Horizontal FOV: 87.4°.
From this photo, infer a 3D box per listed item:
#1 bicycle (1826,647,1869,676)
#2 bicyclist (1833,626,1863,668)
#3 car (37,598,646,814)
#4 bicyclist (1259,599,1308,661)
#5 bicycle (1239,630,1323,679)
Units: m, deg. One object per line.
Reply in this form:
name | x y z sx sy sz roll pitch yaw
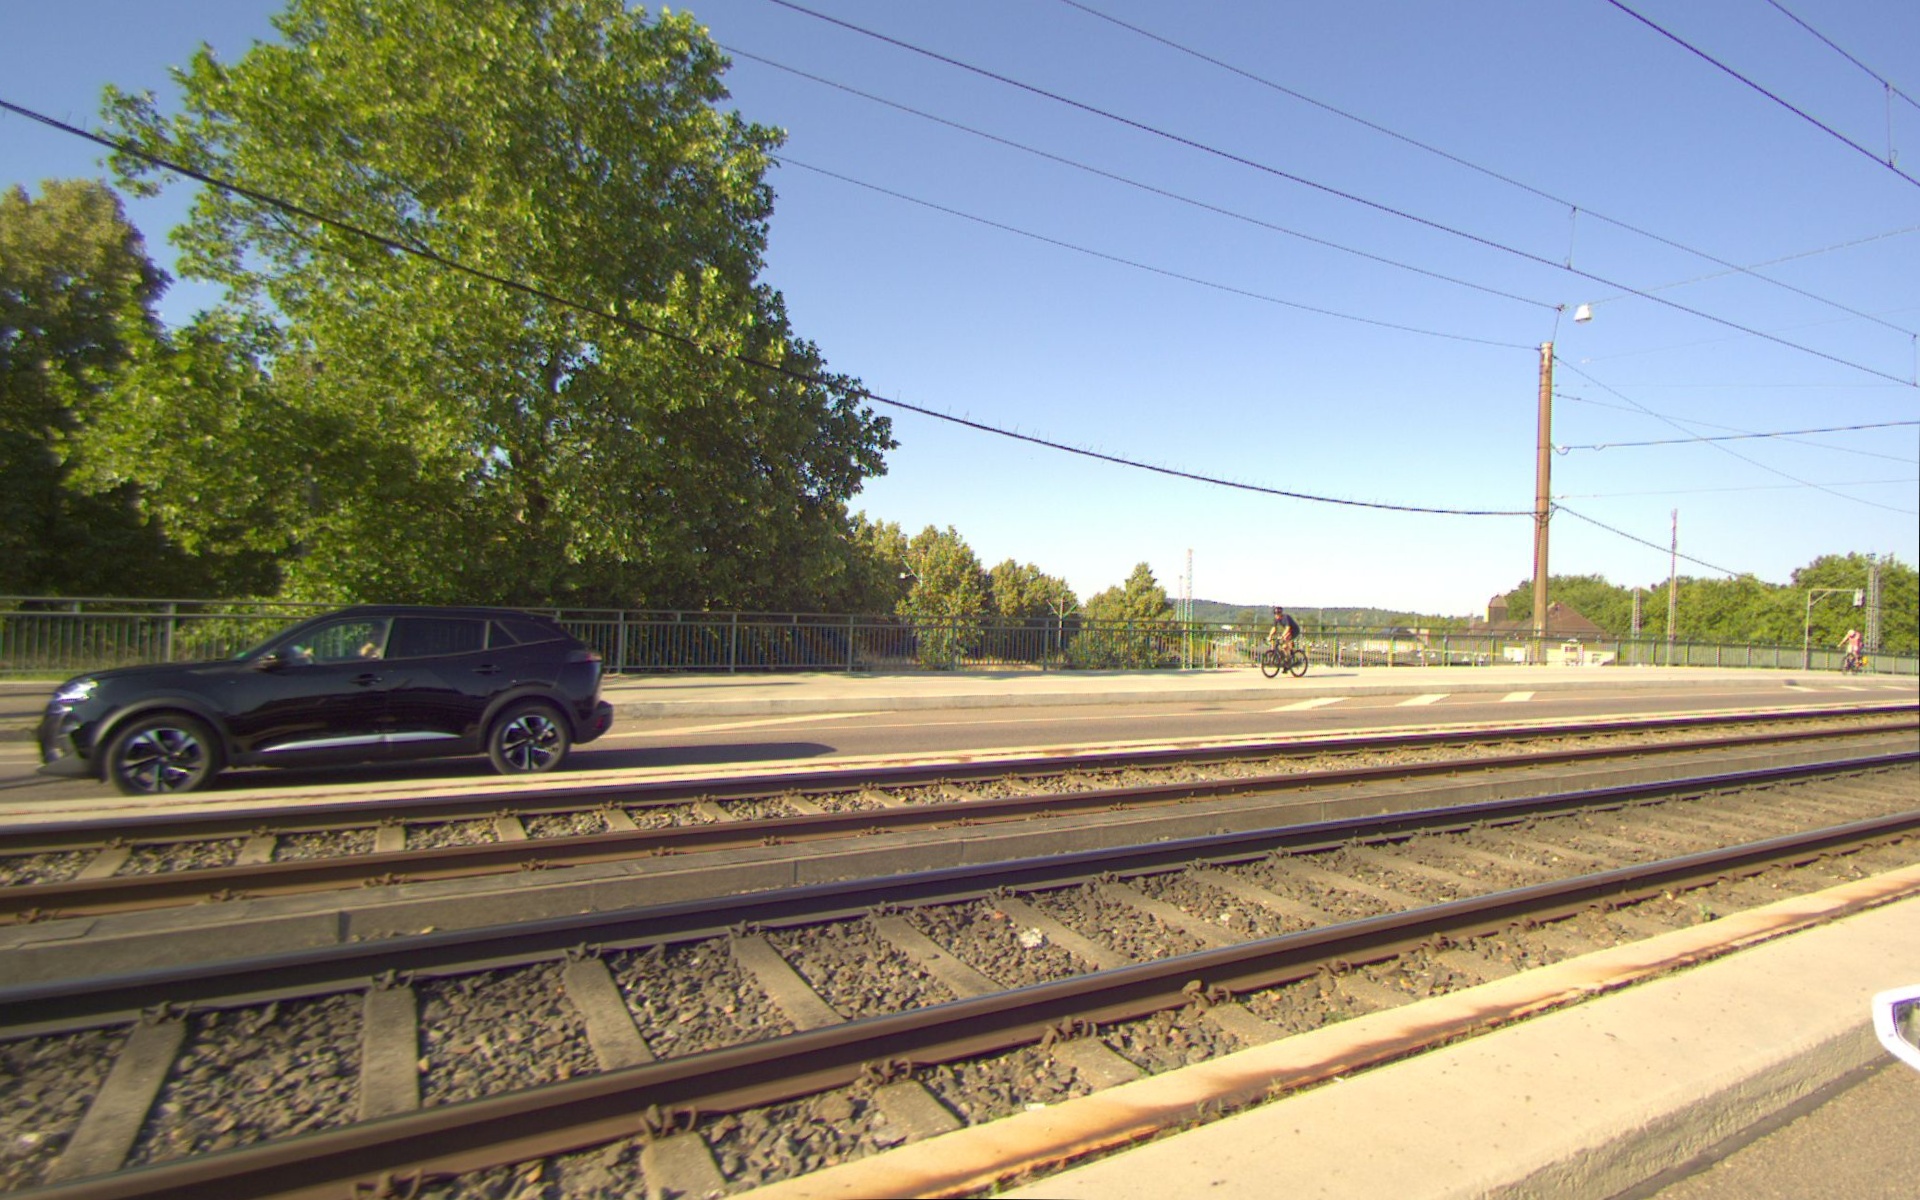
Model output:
bicycle | 36.305 2.520 41.064 2.233 1.137 0.622 3 -1 -30
bicyclist | 36.292 1.925 41.042 0.924 1.655 0.622 3 -1 -30
car | -5.159 0.837 8.977 4.170 1.522 1.840 3 -1 -30
bicyclist | 7.870 0.725 24.429 0.958 1.451 0.622 3 -1 -32
bicycle | 7.813 1.331 24.409 2.235 1.137 0.621 3 -1 -32
